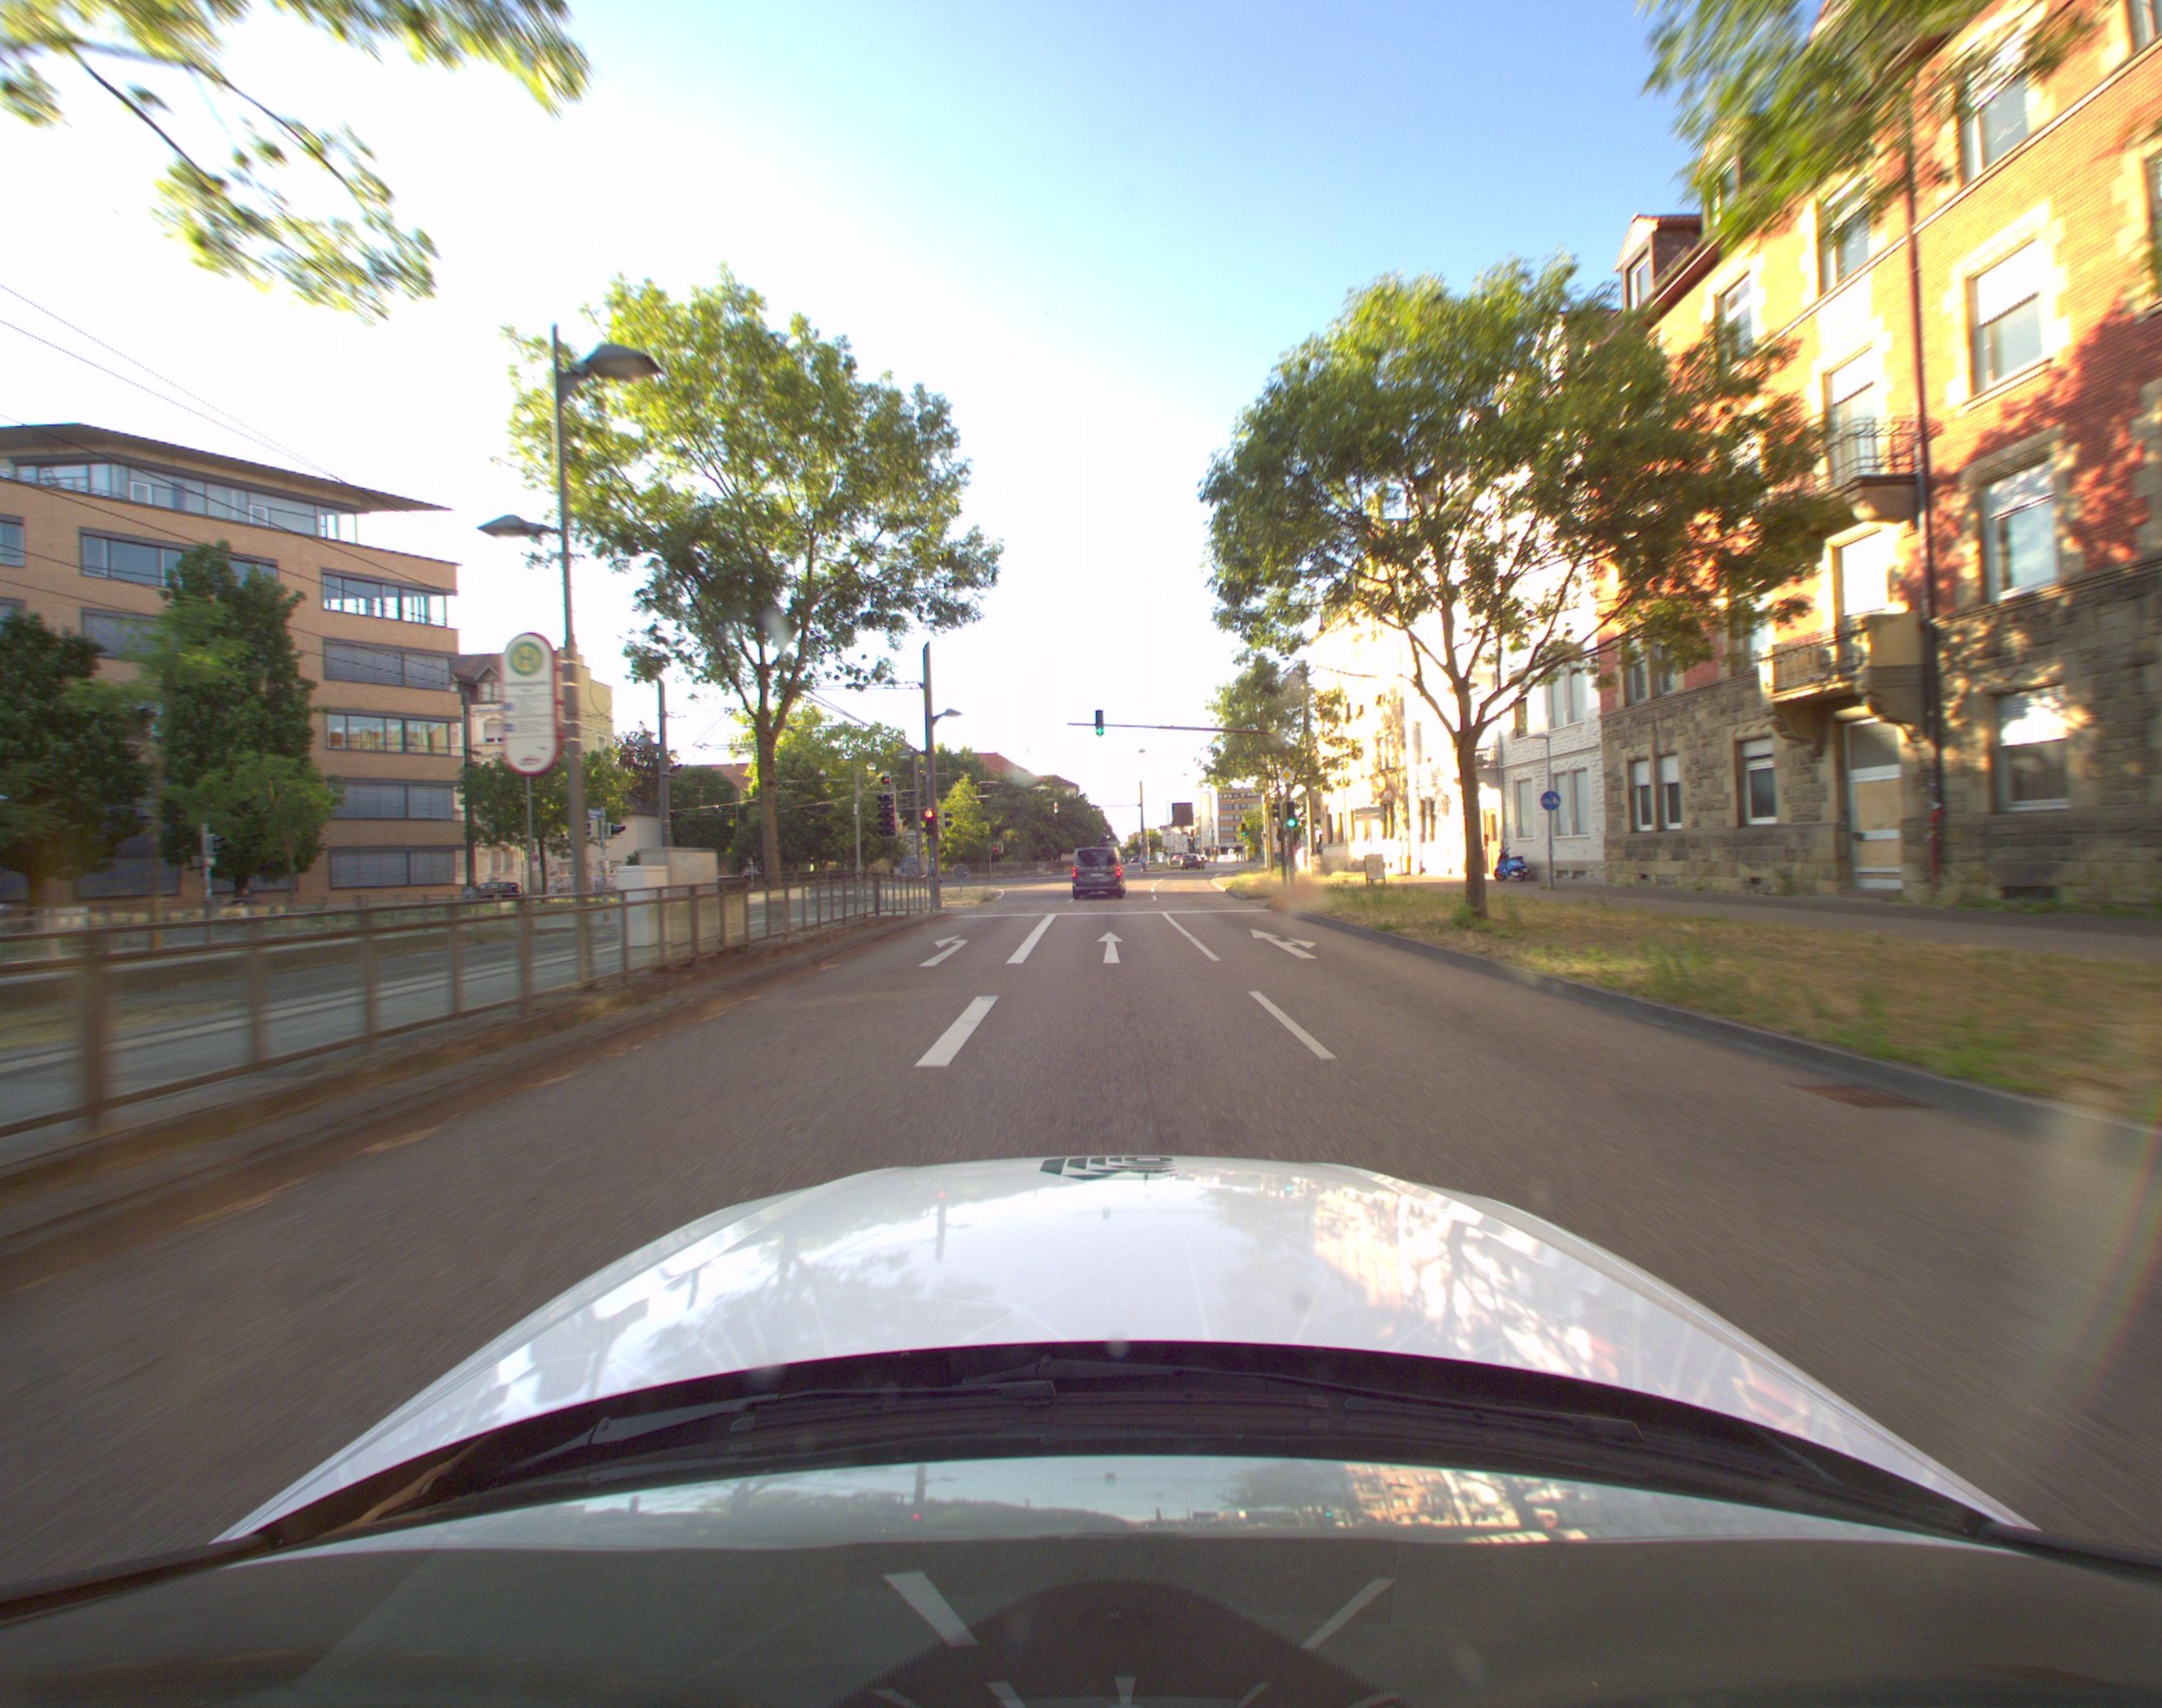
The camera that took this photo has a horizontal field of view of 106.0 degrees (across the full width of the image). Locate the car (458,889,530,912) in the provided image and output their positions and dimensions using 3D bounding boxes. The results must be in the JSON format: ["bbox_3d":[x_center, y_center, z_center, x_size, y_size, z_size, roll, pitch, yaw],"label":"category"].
[{"bbox_3d":[-45.035,3.526,62.539,3.973,1.486,2.000,-2,0,0],"label":"car"}]

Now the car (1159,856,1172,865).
[{"bbox_3d":[17.145,1.383,165.798,1.988,1.656,4.297,-2,-1,-1],"label":"car"}]

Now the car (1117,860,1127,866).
[{"bbox_3d":[10.793,2.301,213.966,1.982,1.595,4.009,-2,0,8],"label":"car"}]

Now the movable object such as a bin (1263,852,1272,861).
[{"bbox_3d":[31.907,0.433,139.293,1.454,1.386,1.551,-3,-1,10],"label":"movable object such as a bin"}]

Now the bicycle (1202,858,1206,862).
[{"bbox_3d":[25.090,1.265,166.335,0.531,0.847,1.684,-2,-1,2],"label":"bicycle"}]

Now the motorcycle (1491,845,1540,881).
[{"bbox_3d":[15.045,0.310,28.259,0.552,1.214,2.072,-1,-1,0],"label":"motorcycle"}]

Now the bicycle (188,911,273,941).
[{"bbox_3d":[-29.310,2.466,28.123,0.770,0.821,1.968,-2,0,4],"label":"bicycle"}]

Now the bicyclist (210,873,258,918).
[{"bbox_3d":[-29.332,1.426,28.210,0.764,1.467,0.828,-2,-1,4],"label":"bicyclist"}]

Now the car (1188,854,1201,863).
[{"bbox_3d":[22.436,0.877,161.000,1.985,1.656,4.302,-2,-1,3],"label":"car"}]

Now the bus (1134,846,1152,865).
[{"bbox_3d":[15.491,0.320,204.342,3.281,4.617,9.993,-1,-1,-2],"label":"bus"}]

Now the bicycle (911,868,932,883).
[{"bbox_3d":[-13.634,1.844,69.663,1.731,1.142,0.552,-2,0,-41],"label":"bicycle"}]

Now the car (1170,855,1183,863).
[{"bbox_3d":[19.579,1.037,166.628,1.988,1.656,4.297,-2,-1,-1],"label":"car"}]

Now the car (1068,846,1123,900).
[{"bbox_3d":[0.630,0.690,31.287,1.985,1.901,4.302,0,0,3],"label":"car"}]

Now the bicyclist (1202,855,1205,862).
[{"bbox_3d":[25.066,0.899,166.271,0.539,1.459,0.641,-2,-1,2],"label":"bicyclist"}]

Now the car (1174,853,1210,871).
[{"bbox_3d":[10.129,0.721,74.089,1.828,1.544,3.654,-2,0,31],"label":"car"}]

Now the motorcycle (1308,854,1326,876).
[{"bbox_3d":[11.595,0.551,40.061,0.601,1.044,1.748,-2,0,8],"label":"motorcycle"}]
